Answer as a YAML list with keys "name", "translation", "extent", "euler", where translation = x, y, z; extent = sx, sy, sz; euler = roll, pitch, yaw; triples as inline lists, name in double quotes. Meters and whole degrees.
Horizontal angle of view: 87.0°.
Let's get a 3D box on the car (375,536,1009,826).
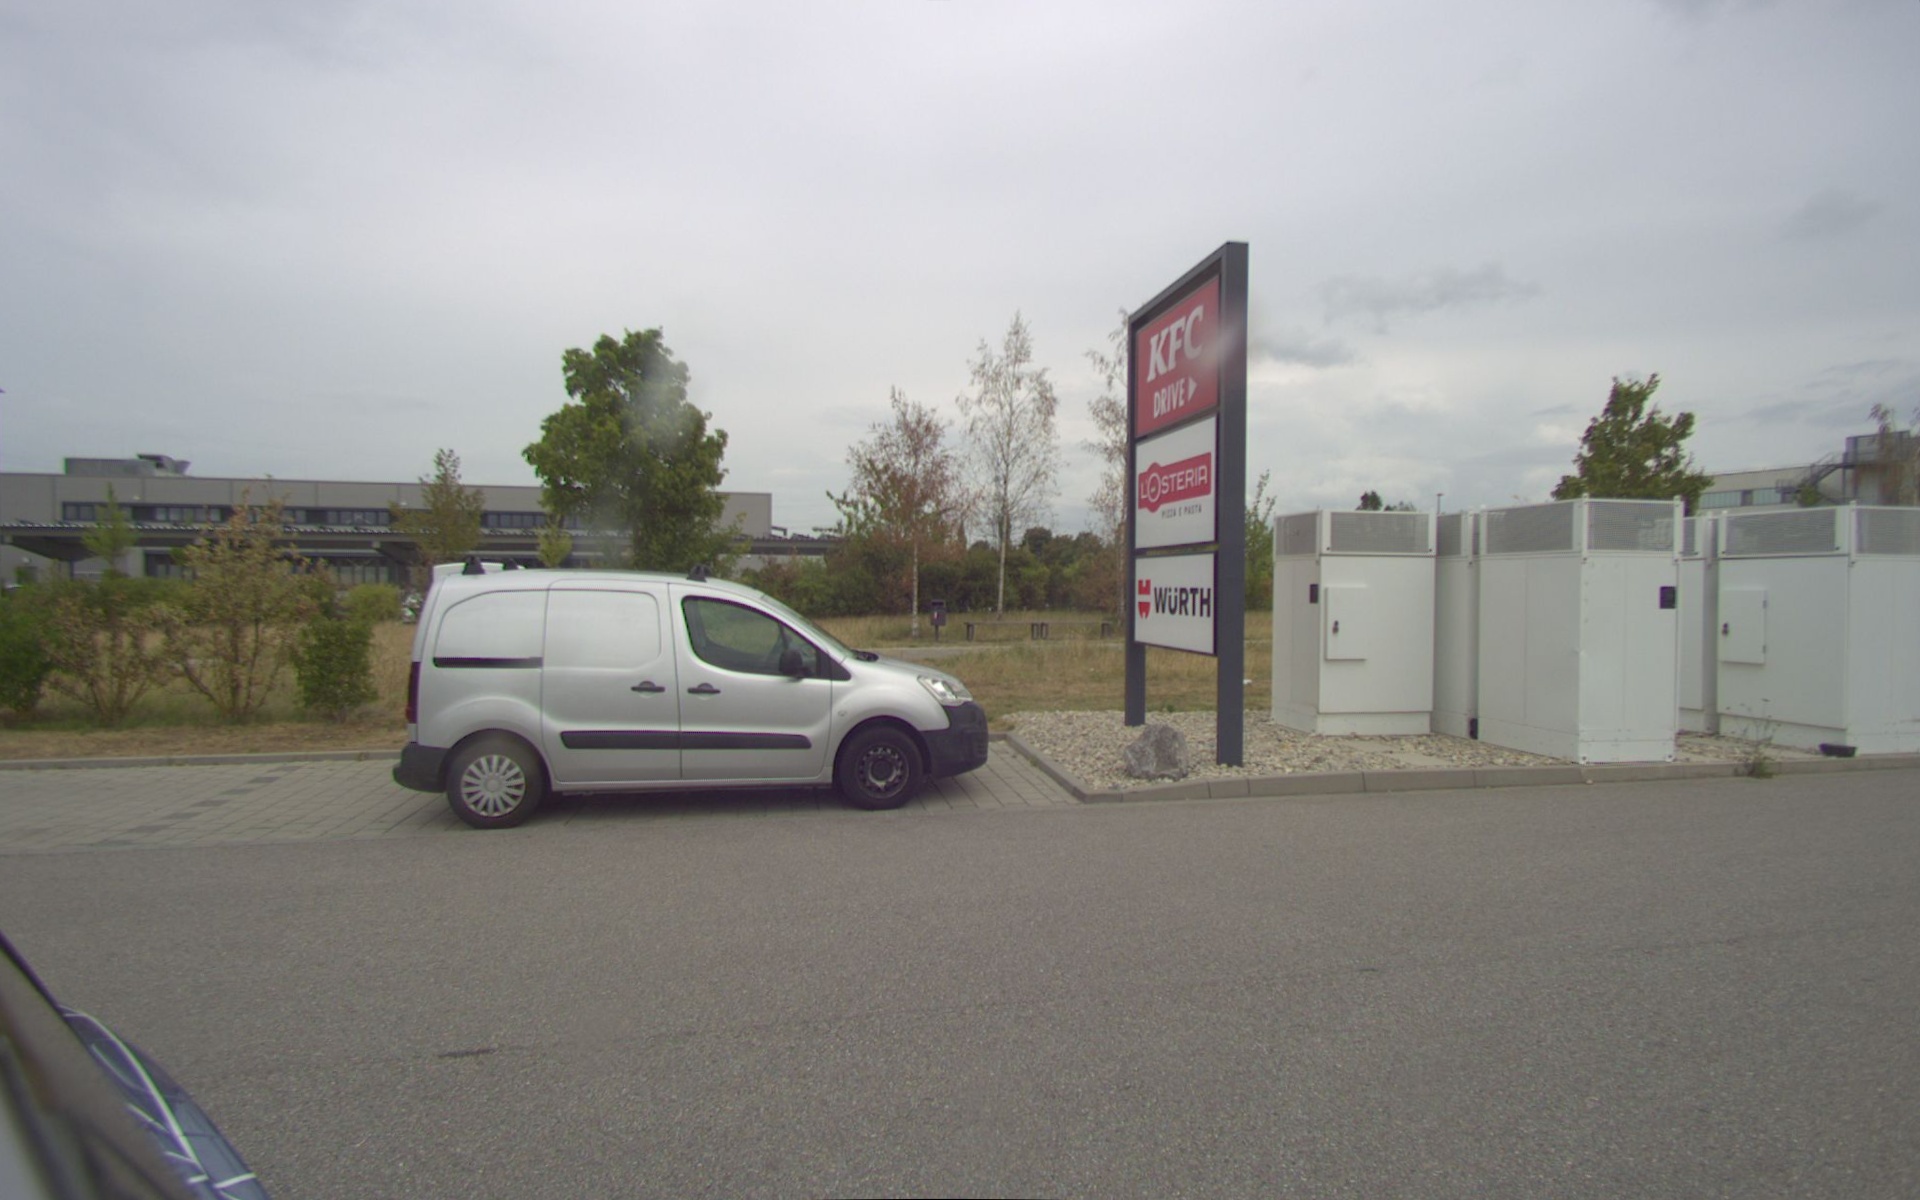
- name: "car"
  translation: [-1.928, 0.553, 8.002]
  extent: [4.266, 1.902, 1.950]
  euler: [0, -1, -11]
